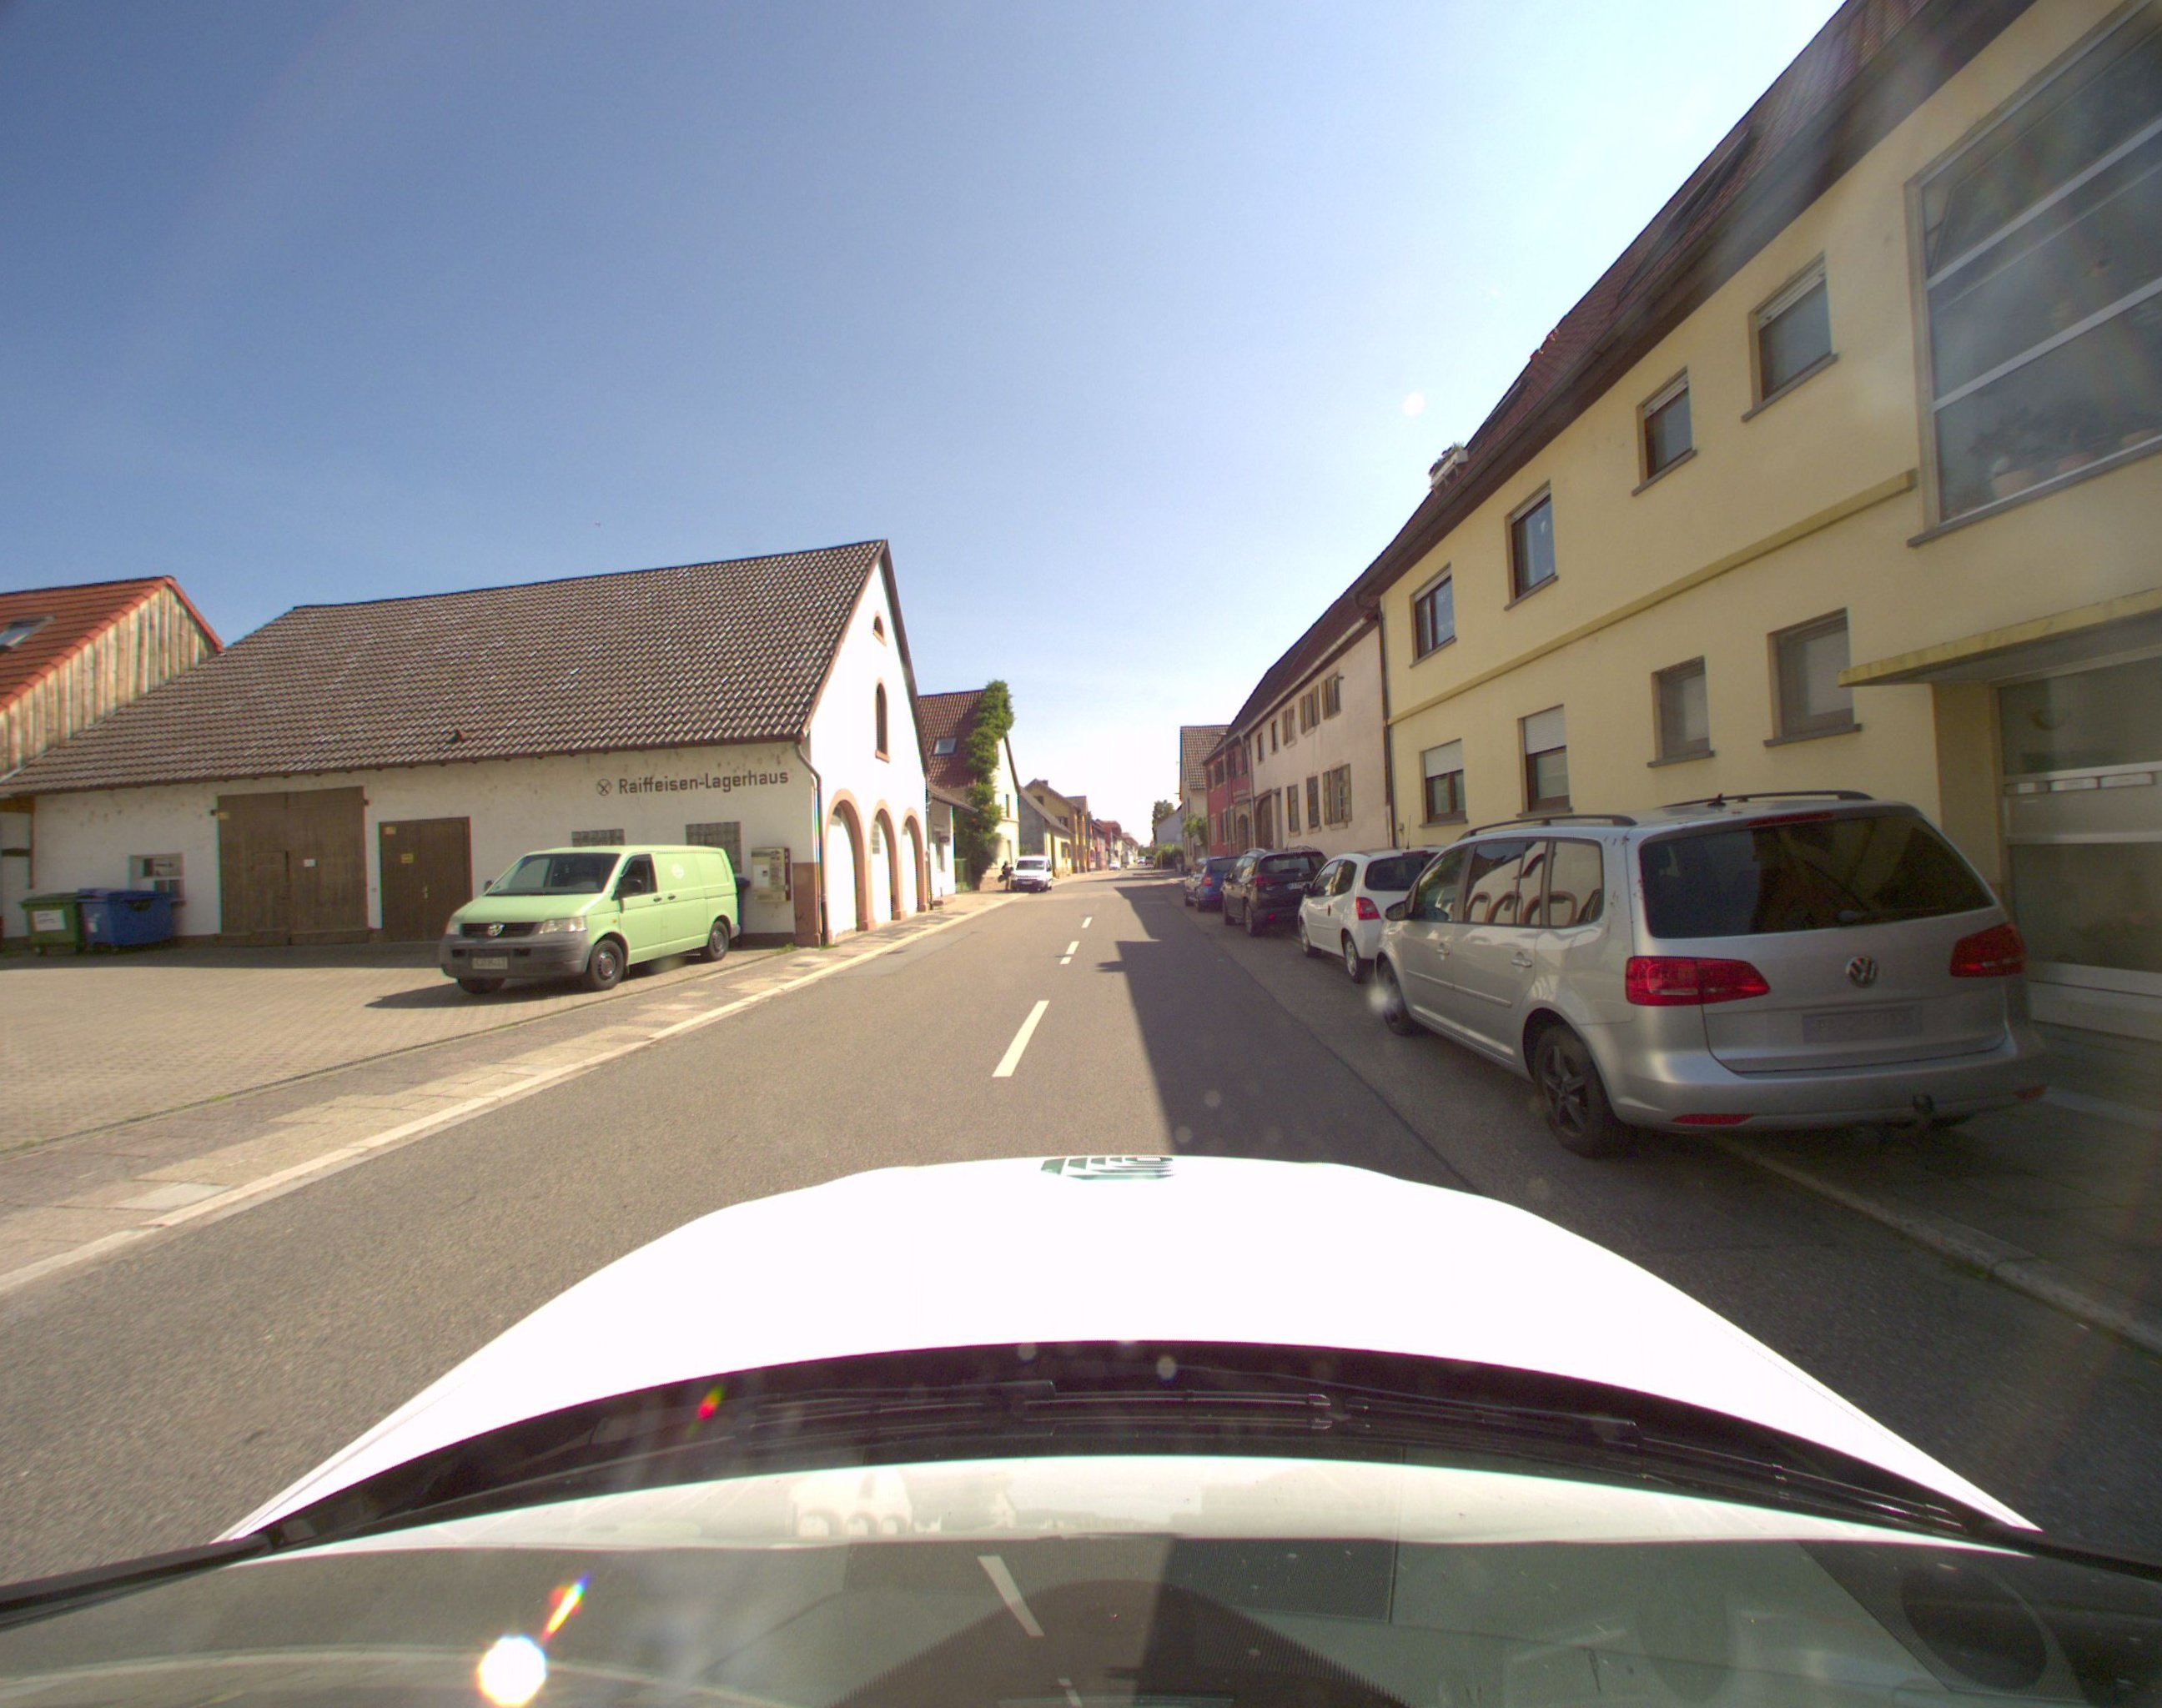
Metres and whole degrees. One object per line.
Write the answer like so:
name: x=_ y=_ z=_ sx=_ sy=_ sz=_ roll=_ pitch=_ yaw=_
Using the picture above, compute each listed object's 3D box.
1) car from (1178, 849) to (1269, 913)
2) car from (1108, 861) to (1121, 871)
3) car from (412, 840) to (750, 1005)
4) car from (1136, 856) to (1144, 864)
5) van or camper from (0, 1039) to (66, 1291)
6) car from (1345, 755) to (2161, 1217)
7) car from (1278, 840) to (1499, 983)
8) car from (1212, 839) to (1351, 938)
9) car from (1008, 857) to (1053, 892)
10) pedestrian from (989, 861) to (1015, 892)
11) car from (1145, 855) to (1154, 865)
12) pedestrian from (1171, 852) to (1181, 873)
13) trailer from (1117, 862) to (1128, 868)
car: x=3.826 y=0.697 z=22.515 sx=1.693 sy=1.469 sz=4.410 roll=-4 pitch=-1 yaw=0
car: x=5.584 y=1.955 z=135.652 sx=1.985 sy=1.442 sz=4.004 roll=-3 pitch=-1 yaw=4
car: x=-7.111 y=0.854 z=12.355 sx=1.985 sy=1.964 sz=4.673 roll=-2 pitch=0 yaw=3
car: x=16.926 y=1.796 z=234.179 sx=2.149 sy=2.080 sz=4.002 roll=-3 pitch=-2 yaw=3
van or camper: x=-4.592 y=1.262 z=3.147 sx=0.586 sy=0.951 sz=0.601 roll=-2 pitch=-1 yaw=8
car: x=3.284 y=0.529 z=5.269 sx=1.891 sy=1.728 sz=4.251 roll=-2 pitch=-1 yaw=3
car: x=3.748 y=0.632 z=10.601 sx=1.545 sy=1.438 sz=3.723 roll=-4 pitch=-1 yaw=3
car: x=3.726 y=0.606 z=15.844 sx=1.693 sy=1.584 sz=4.028 roll=-4 pitch=-1 yaw=1
car: x=-2.505 y=0.990 z=41.237 sx=1.848 sy=1.647 sz=4.431 roll=-2 pitch=0 yaw=1
pedestrian: x=-4.029 y=1.148 z=41.622 sx=1.132 sy=1.552 sz=1.017 roll=-2 pitch=-1 yaw=0
car: x=17.085 y=1.516 z=202.575 sx=2.009 sy=2.568 sz=4.003 roll=-3 pitch=-1 yaw=3
pedestrian: x=7.585 y=0.708 z=65.260 sx=0.715 sy=1.664 sz=0.894 roll=-2 pitch=-1 yaw=7
trailer: x=7.706 y=2.012 z=152.420 sx=1.985 sy=1.090 sz=4.003 roll=-2 pitch=0 yaw=3
